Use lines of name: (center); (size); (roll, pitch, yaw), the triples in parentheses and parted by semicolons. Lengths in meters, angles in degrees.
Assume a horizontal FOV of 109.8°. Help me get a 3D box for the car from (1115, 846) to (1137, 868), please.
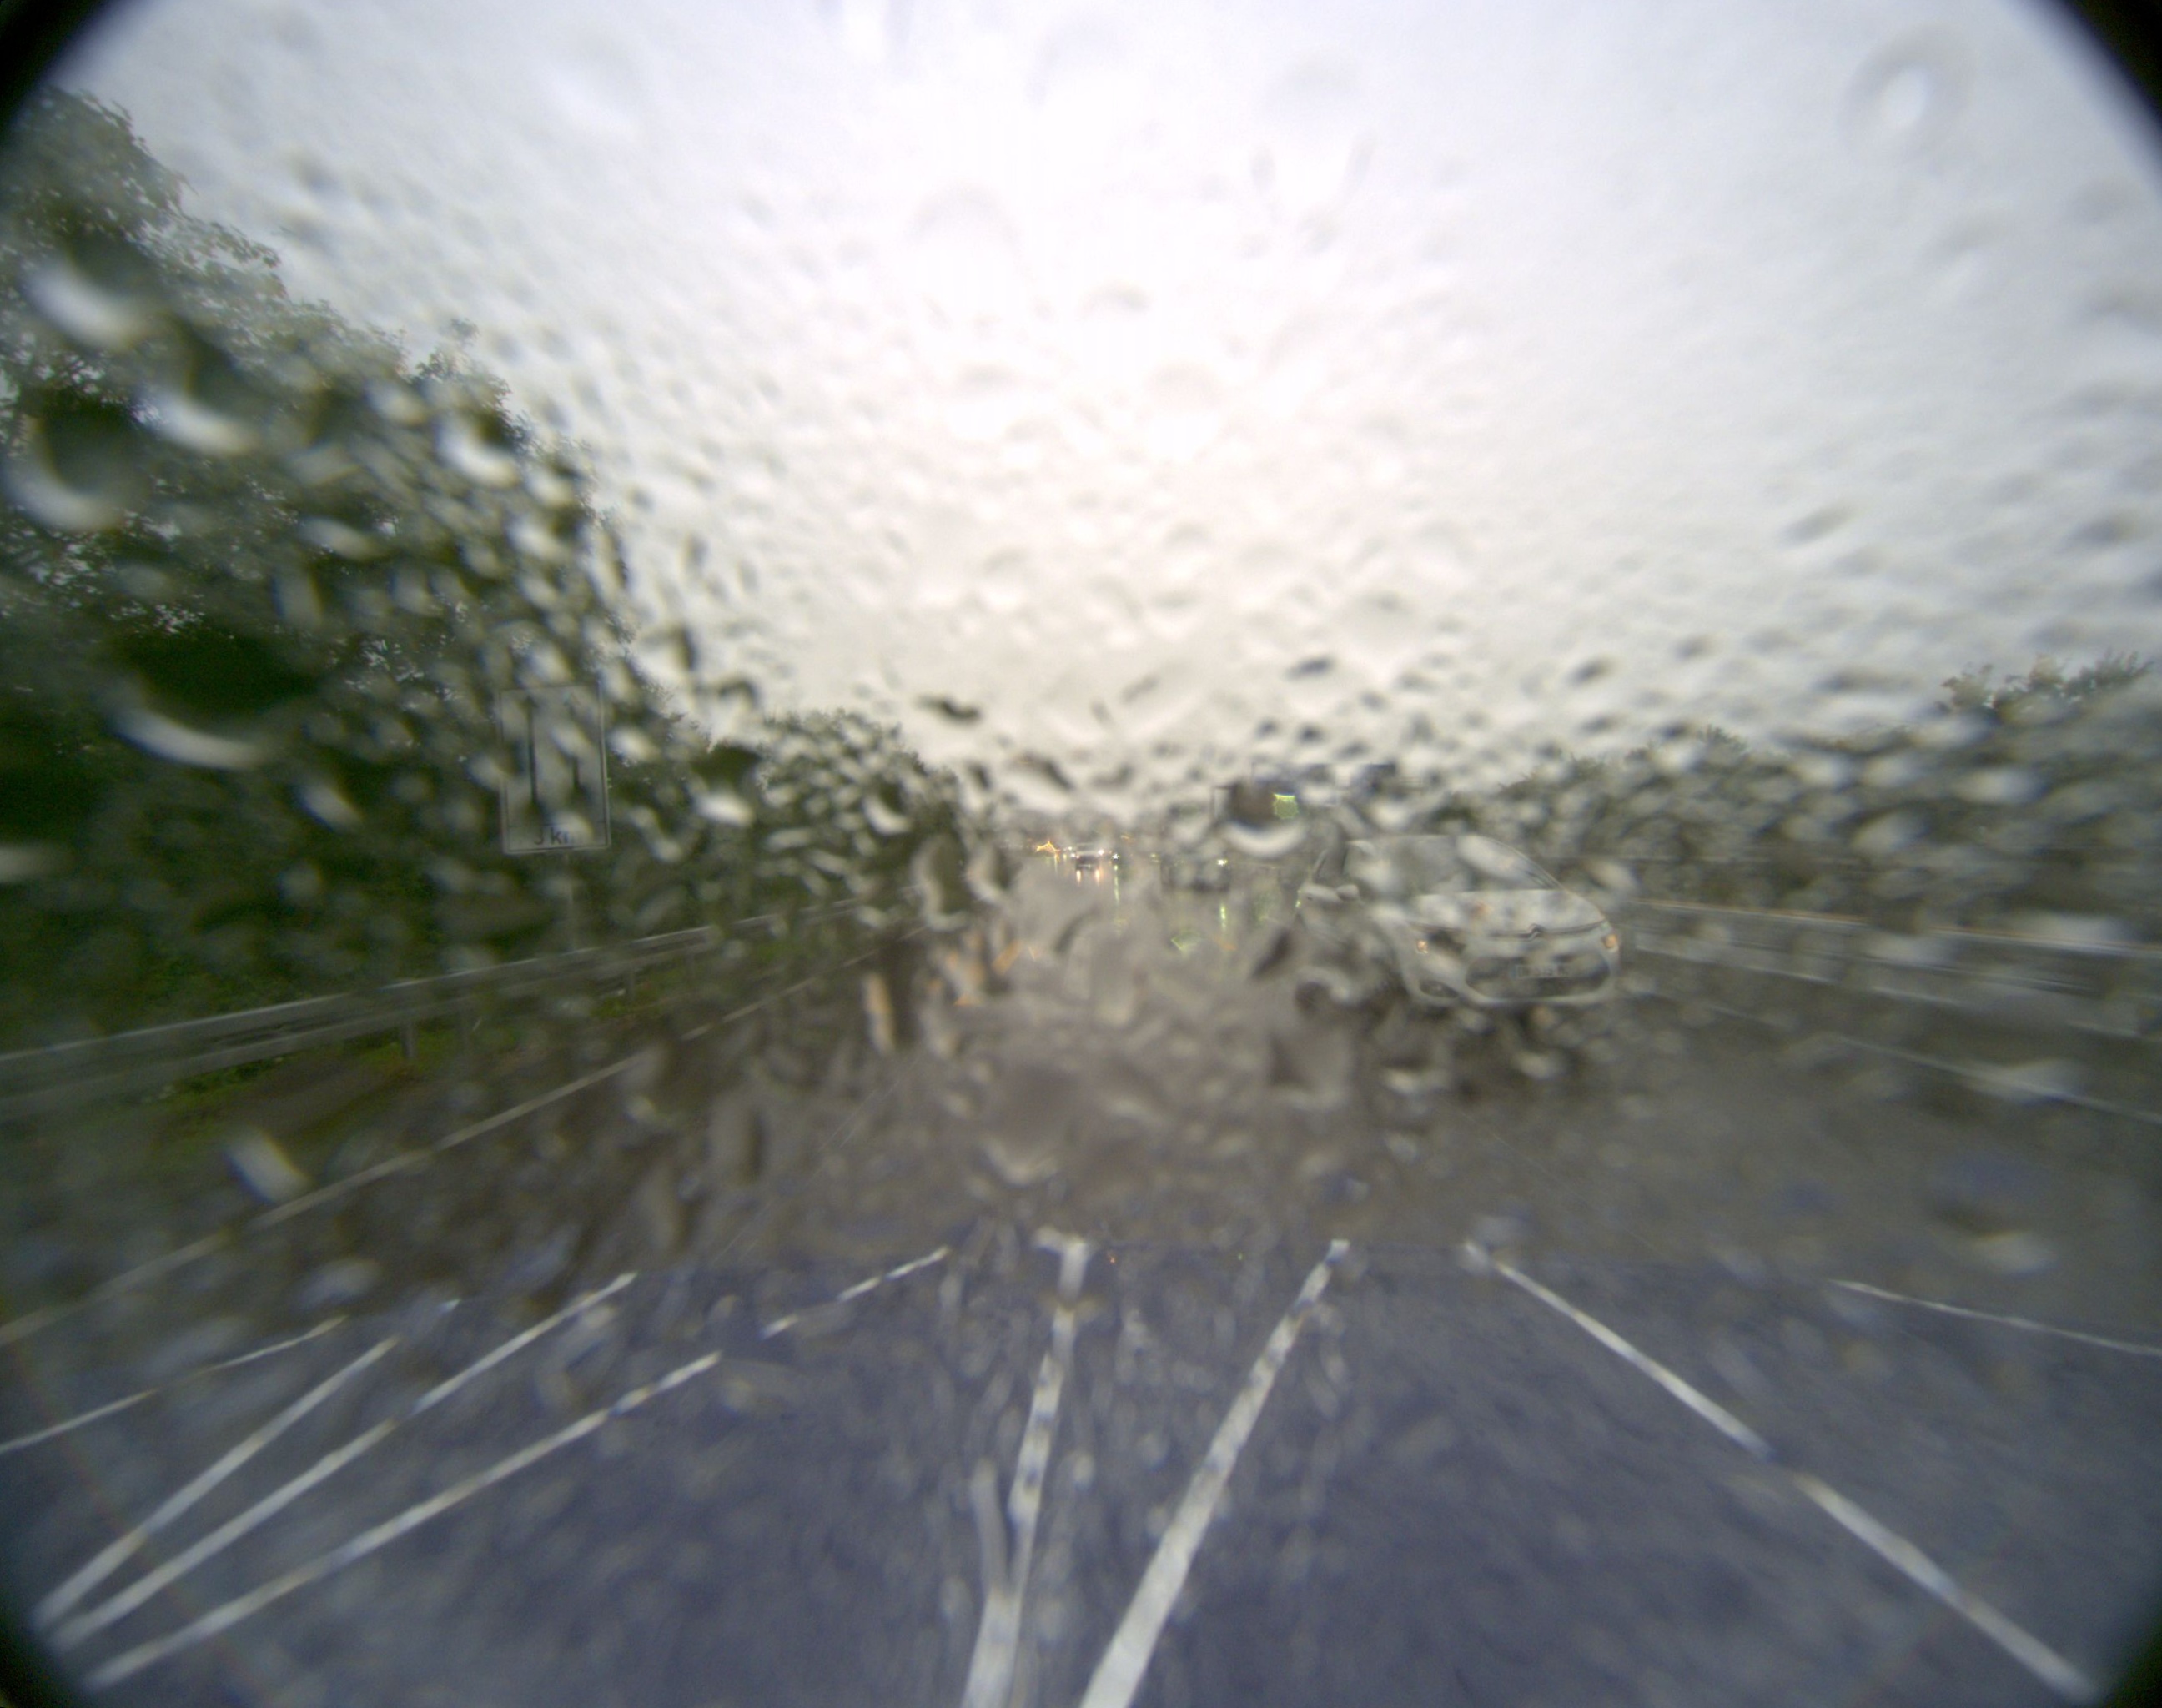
car: (4.046, 0.257, 69.025); (1.695, 1.740, 3.999); (-3, 1, 1)

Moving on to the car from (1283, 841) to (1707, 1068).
car: (3.574, 0.734, 7.672); (1.978, 1.586, 4.309); (-2, 0, 1)

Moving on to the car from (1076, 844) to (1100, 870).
car: (0.575, 0.227, 63.302); (1.881, 2.002, 3.999); (-3, 1, 1)

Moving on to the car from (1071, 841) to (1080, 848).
car: (-1.272, -2.297, 177.482); (1.752, 1.579, 3.998); (-3, 1, -3)

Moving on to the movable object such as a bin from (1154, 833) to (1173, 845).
movable object such as a bin: (21.022, -3.921, 193.113); (3.775, 2.782, 6.327); (-3, 1, -3)

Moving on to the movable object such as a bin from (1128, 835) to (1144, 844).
movable object such as a bin: (16.920, -4.466, 234.301); (3.449, 2.282, 5.096); (-3, 1, -10)

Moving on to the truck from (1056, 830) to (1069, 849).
truck: (-4.194, -3.202, 171.611); (2.484, 4.061, 8.699); (-3, 1, -3)

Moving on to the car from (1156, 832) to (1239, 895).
car: (4.156, 0.262, 28.096); (2.211, 2.002, 5.562); (-3, 1, 1)

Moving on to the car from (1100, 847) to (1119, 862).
car: (3.576, 0.042, 95.432); (1.845, 1.586, 3.998); (-3, 1, -3)

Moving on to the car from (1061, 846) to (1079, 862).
car: (-1.277, -0.004, 84.723); (1.882, 1.657, 3.998); (-2, 1, -2)
